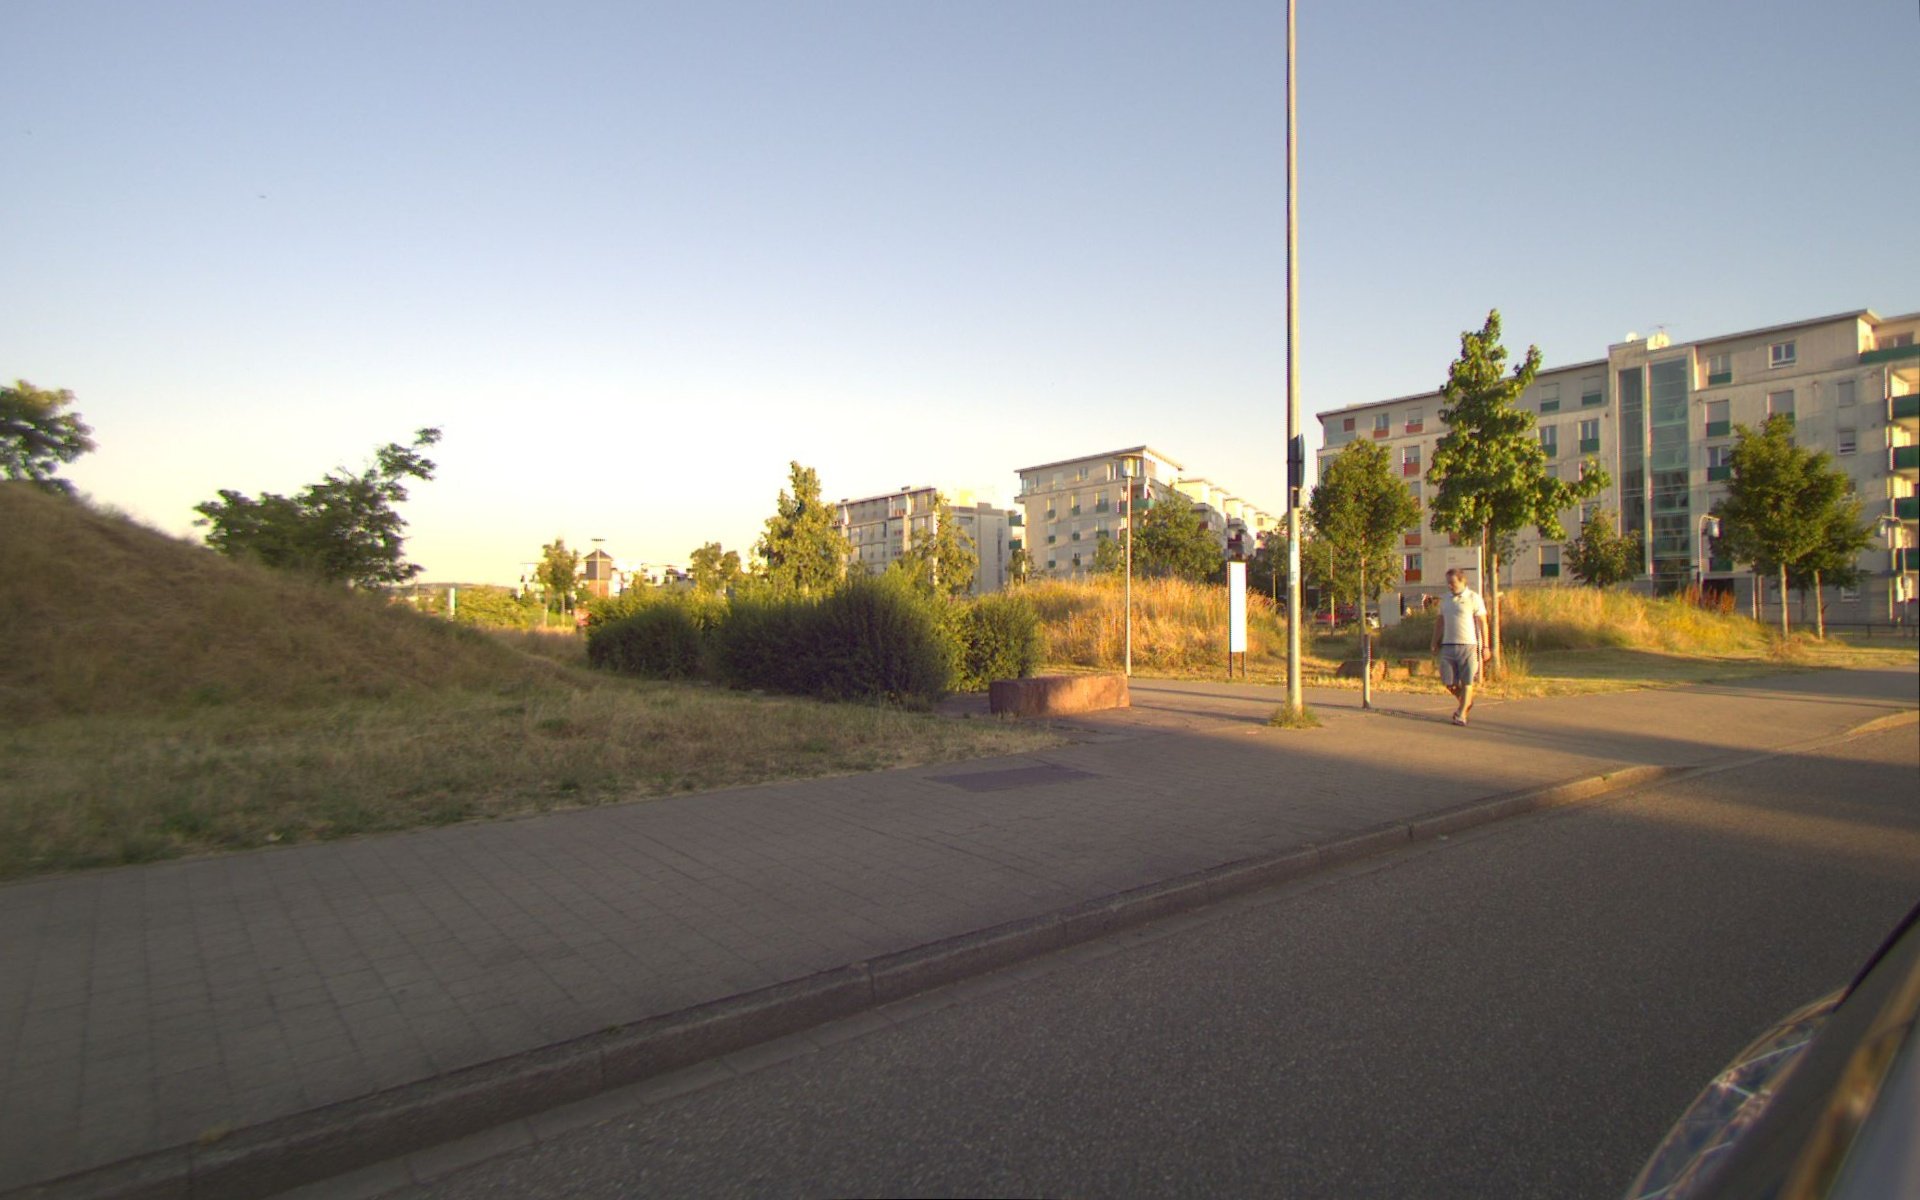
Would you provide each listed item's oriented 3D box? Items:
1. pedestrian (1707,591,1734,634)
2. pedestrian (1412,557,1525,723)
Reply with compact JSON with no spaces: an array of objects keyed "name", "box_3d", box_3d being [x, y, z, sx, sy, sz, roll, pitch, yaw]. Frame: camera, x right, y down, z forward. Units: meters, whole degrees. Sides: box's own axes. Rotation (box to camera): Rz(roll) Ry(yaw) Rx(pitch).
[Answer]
[{"name":"pedestrian","box_3d":[32.239,0.536,42.900,0.787,1.807,0.733,2,-3,-38]},{"name":"pedestrian","box_3d":[5.754,0.412,11.468,0.802,1.788,0.834,-1,2,-34]}]
